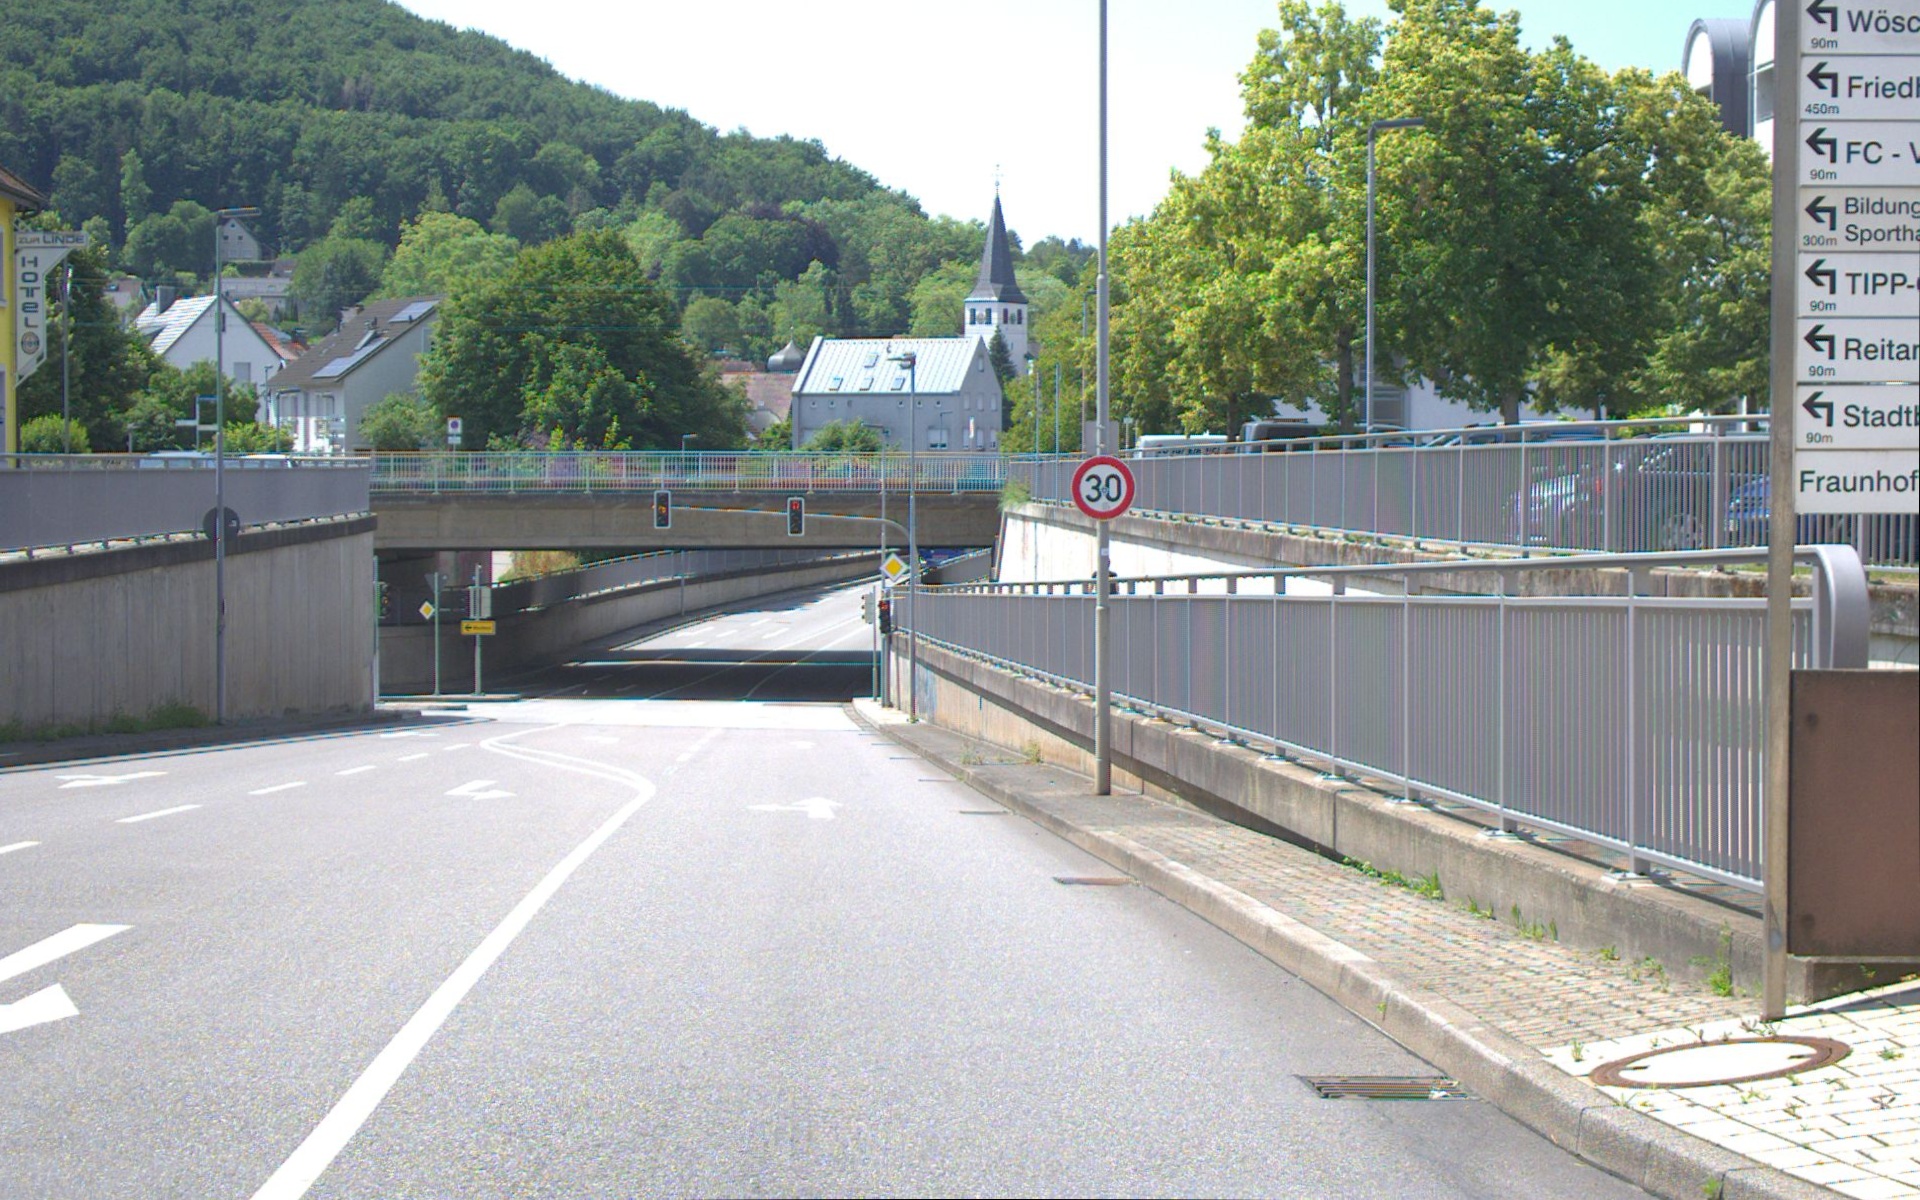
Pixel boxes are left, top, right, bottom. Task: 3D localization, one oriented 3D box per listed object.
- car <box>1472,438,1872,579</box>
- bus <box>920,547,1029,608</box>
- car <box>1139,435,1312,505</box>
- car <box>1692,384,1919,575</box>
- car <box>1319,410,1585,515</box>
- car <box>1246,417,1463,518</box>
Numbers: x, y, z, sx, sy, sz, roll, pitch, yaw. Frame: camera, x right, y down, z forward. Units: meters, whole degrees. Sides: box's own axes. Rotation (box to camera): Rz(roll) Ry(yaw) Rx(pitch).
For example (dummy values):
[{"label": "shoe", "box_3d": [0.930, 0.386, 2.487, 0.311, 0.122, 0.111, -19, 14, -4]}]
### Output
[{"label": "car", "box_3d": [7.740, -0.996, 37.611, 3.987, 1.423, 1.725, 1, 1, 0]}, {"label": "bus", "box_3d": [0.882, -1.269, 188.979, 2.583, 3.162, 12.367, 1, 1, 17]}, {"label": "car", "box_3d": [6.323, -3.107, 82.227, 3.987, 1.481, 1.769, 1, -1, 0]}, {"label": "car", "box_3d": [9.284, -1.084, 32.930, 3.986, 1.624, 1.864, 2, -1, -12]}, {"label": "car", "box_3d": [7.854, -2.184, 55.117, 3.987, 1.481, 1.769, 1, -1, 0]}, {"label": "car", "box_3d": [7.648, -2.567, 66.905, 3.987, 1.764, 1.769, 1, -1, 0]}]
